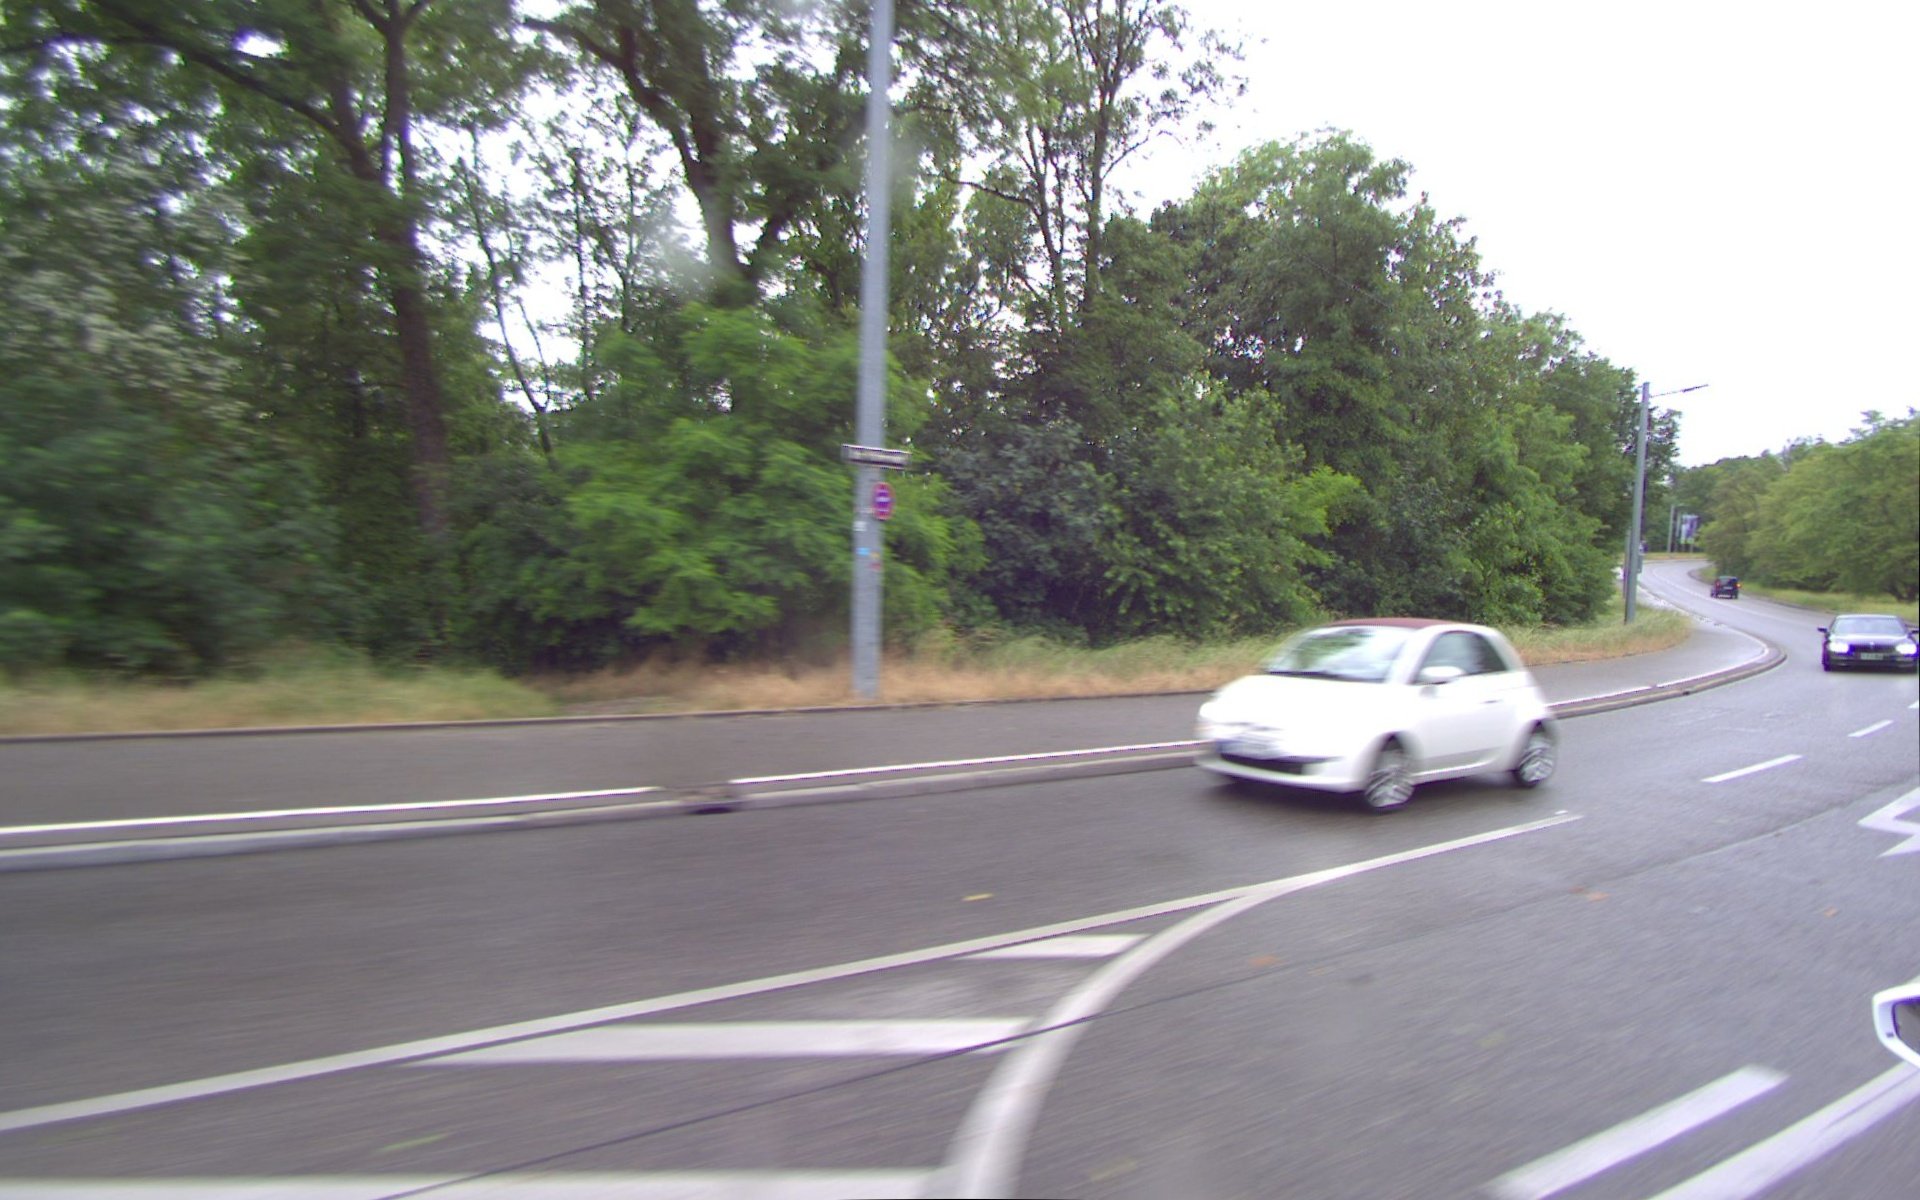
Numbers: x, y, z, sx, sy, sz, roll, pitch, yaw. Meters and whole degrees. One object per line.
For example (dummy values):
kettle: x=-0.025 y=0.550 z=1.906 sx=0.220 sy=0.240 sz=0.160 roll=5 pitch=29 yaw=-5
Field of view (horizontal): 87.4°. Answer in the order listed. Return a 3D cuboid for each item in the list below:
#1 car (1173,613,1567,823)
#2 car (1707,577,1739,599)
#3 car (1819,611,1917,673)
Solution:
car: x=3.713 y=0.882 z=8.881 sx=3.631 sy=1.497 sz=1.556 roll=1 pitch=-1 yaw=-36
car: x=66.900 y=-1.036 z=88.124 sx=1.717 sy=1.740 sz=3.990 roll=4 pitch=4 yaw=32
car: x=24.539 y=1.091 z=27.156 sx=1.826 sy=1.521 sz=4.605 roll=-1 pitch=-1 yaw=42
